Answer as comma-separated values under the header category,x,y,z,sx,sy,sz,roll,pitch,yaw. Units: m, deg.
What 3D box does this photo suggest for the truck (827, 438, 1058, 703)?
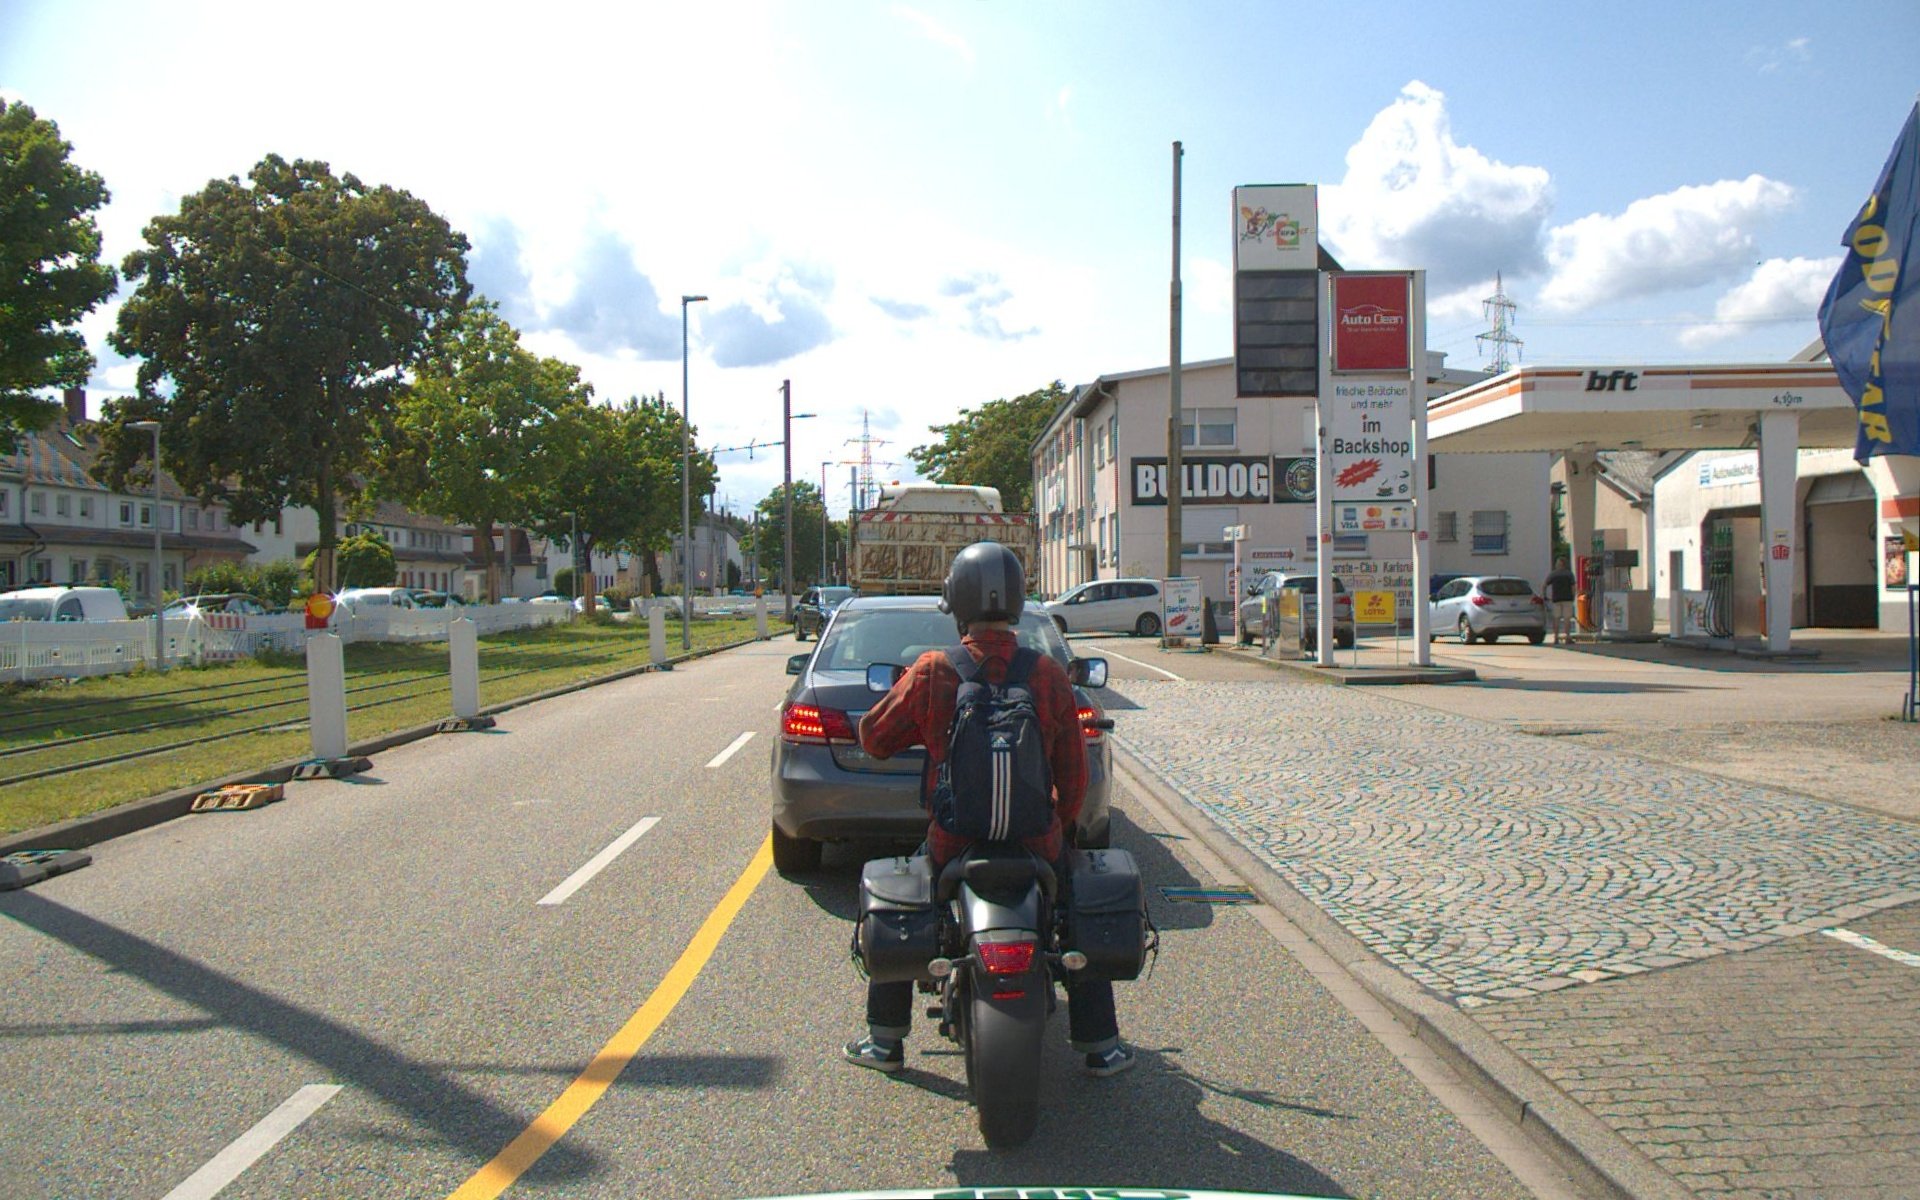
category,x,y,z,sx,sy,sz,roll,pitch,yaw
truck,-0.357,-0.420,25.465,2.910,3.362,8.404,-1,0,-2

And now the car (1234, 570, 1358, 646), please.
category,x,y,z,sx,sy,sz,roll,pitch,yaw
car,7.399,0.144,36.751,1.795,1.562,4.008,-1,0,-2

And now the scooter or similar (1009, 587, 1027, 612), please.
category,x,y,z,sx,sy,sz,roll,pitch,yaw
scooter or similar,2.780,-0.030,79.507,0.779,1.165,1.519,-1,0,-1

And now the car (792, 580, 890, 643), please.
category,x,y,z,sx,sy,sz,roll,pitch,yaw
car,-3.353,0.292,45.949,1.656,1.652,4.094,-1,0,-20

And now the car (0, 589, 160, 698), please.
category,x,y,z,sx,sy,sz,roll,pitch,yaw
car,-16.419,0.745,30.289,1.664,1.849,3.860,-1,0,-1

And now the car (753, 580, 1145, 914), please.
category,x,y,z,sx,sy,sz,roll,pitch,yaw
car,-0.111,0.665,9.711,1.795,1.505,4.008,-1,0,-2

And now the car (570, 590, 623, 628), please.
category,x,y,z,sx,sy,sz,roll,pitch,yaw
car,-17.425,0.405,79.462,1.664,1.770,3.860,-1,0,-1

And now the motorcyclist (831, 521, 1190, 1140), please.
category,x,y,z,sx,sy,sz,roll,pitch,yaw
motorcyclist,0.129,0.620,5.072,0.950,1.662,1.214,1,0,-1

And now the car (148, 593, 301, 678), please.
category,x,y,z,sx,sy,sz,roll,pitch,yaw
car,-16.675,0.758,37.712,1.664,1.770,4.053,-1,0,-1

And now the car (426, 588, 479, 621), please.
category,x,y,z,sx,sy,sz,roll,pitch,yaw
car,-28.188,0.243,91.929,1.664,1.770,4.061,-1,0,-1

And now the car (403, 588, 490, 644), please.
category,x,y,z,sx,sy,sz,roll,pitch,yaw
car,-17.023,0.497,54.976,1.664,1.770,3.860,-1,0,-1

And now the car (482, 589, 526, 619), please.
category,x,y,z,sx,sy,sz,roll,pitch,yaw
car,-28.672,0.228,104.141,1.664,1.770,4.061,-1,0,-1

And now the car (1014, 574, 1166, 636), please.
category,x,y,z,sx,sy,sz,roll,pitch,yaw
car,3.667,0.119,47.080,4.029,1.652,1.682,-1,0,-9

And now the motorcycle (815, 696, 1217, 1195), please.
category,x,y,z,sx,sy,sz,roll,pitch,yaw
motorcycle,0.118,0.902,5.190,0.956,1.031,2.431,1,0,-1

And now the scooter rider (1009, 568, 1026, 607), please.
category,x,y,z,sx,sy,sz,roll,pitch,yaw
scooter rider,2.771,-0.591,79.459,0.779,1.850,0.508,-1,0,-1

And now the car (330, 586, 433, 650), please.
category,x,y,z,sx,sy,sz,roll,pitch,yaw
car,-16.947,0.494,48.610,1.664,1.770,3.860,-1,0,-1

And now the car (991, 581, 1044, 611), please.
category,x,y,z,sx,sy,sz,roll,pitch,yaw
car,3.664,-0.242,105.285,1.886,1.818,4.048,-1,0,-22

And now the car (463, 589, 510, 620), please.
category,x,y,z,sx,sy,sz,roll,pitch,yaw
car,-28.069,0.258,98.139,1.664,1.770,4.061,-1,0,-1

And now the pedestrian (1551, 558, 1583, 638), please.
category,x,y,z,sx,sy,sz,roll,pitch,yaw
pedestrian,13.133,-0.046,35.789,0.621,1.712,0.622,-1,0,20

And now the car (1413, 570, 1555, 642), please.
category,x,y,z,sx,sy,sz,roll,pitch,yaw
car,11.770,0.104,37.417,1.795,1.505,4.008,-1,0,-2
